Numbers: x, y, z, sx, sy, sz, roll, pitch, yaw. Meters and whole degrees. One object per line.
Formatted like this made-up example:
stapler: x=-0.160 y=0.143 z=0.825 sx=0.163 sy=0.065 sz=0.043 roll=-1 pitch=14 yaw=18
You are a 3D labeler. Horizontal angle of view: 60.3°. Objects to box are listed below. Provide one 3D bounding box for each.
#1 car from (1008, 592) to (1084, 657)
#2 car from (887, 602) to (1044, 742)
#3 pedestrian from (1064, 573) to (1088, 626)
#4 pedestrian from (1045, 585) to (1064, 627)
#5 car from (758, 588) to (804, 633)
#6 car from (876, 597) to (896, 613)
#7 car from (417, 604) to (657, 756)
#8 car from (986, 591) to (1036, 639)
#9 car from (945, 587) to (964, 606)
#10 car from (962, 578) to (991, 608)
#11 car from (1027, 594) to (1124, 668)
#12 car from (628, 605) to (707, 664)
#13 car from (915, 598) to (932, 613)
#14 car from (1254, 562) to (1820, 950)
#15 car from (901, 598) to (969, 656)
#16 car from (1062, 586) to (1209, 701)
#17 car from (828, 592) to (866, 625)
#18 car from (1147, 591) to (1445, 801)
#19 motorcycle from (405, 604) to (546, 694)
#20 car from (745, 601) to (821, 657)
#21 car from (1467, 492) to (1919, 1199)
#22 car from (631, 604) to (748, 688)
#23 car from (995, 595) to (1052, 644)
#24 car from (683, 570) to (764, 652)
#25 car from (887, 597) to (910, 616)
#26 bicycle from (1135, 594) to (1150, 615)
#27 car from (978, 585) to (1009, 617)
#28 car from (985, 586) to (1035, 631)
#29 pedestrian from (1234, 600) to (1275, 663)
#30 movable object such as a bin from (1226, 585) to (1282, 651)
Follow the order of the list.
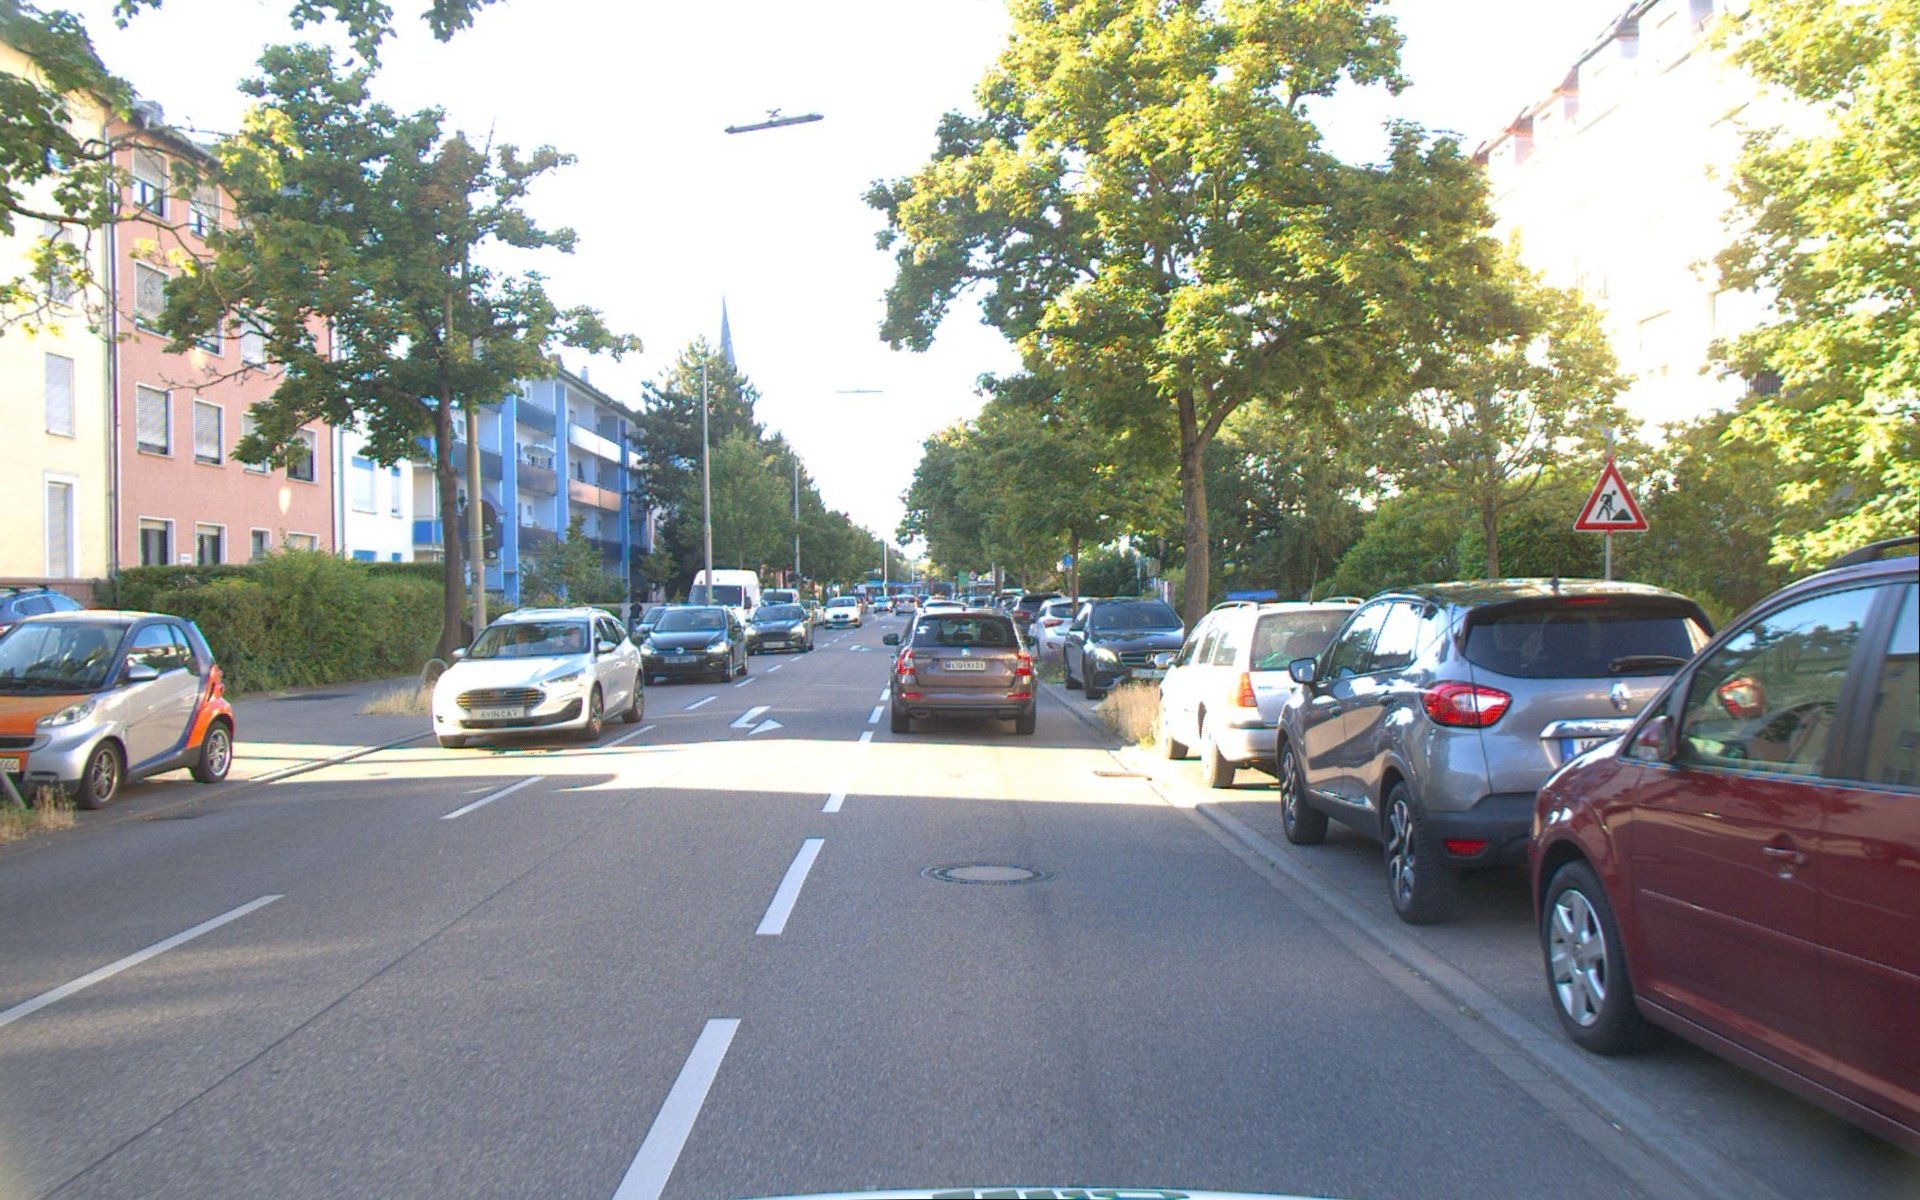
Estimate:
car: x=2.271 y=0.631 z=44.581 sx=1.683 sy=1.629 sz=4.095 roll=-1 pitch=0 yaw=-2
car: x=0.076 y=0.792 z=20.241 sx=1.718 sy=1.518 sz=4.000 roll=1 pitch=0 yaw=0
pedestrian: x=3.797 y=-0.020 z=54.284 sx=0.771 sy=1.730 sz=0.808 roll=0 pitch=-1 yaw=3
pedestrian: x=4.291 y=0.274 z=74.966 sx=0.734 sy=1.893 sz=1.067 roll=-2 pitch=0 yaw=-2
car: x=-8.650 y=0.485 z=80.345 sx=1.831 sy=2.067 sz=5.299 roll=0 pitch=0 yaw=-2
car: x=-7.112 y=0.463 z=159.389 sx=1.745 sy=1.520 sz=3.970 roll=-2 pitch=0 yaw=-1
car: x=-4.975 y=0.869 z=20.100 sx=1.795 sy=1.496 sz=4.450 roll=-4 pitch=0 yaw=-2
car: x=1.871 y=0.535 z=61.677 sx=1.718 sy=1.691 sz=4.252 roll=-2 pitch=0 yaw=0
car: x=-0.547 y=-0.341 z=158.055 sx=1.718 sy=1.837 sz=3.999 roll=0 pitch=0 yaw=-1
car: x=1.103 y=-0.455 z=110.209 sx=1.877 sy=1.893 sz=5.633 roll=-1 pitch=0 yaw=1
car: x=2.508 y=0.650 z=36.926 sx=1.684 sy=1.520 sz=4.392 roll=-1 pitch=0 yaw=-2
car: x=-8.062 y=0.928 z=45.899 sx=1.579 sy=1.498 sz=3.812 roll=1 pitch=0 yaw=-2
car: x=-4.132 y=0.614 z=185.712 sx=1.613 sy=1.627 sz=3.645 roll=-1 pitch=0 yaw=-6
car: x=2.829 y=0.661 z=9.079 sx=1.603 sy=1.596 sz=3.999 roll=-2 pitch=0 yaw=-1
car: x=-0.747 y=0.783 z=48.145 sx=1.854 sy=1.533 sz=3.788 roll=3 pitch=-1 yaw=-2
car: x=2.728 y=0.630 z=26.692 sx=1.836 sy=1.608 sz=4.820 roll=-2 pitch=0 yaw=0
car: x=-5.720 y=0.408 z=83.712 sx=1.842 sy=1.570 sz=4.263 roll=-1 pitch=0 yaw=-4
car: x=2.793 y=0.721 z=14.708 sx=1.603 sy=1.516 sz=4.414 roll=-2 pitch=0 yaw=-2
motorcycle: x=-7.898 y=0.793 z=27.003 sx=2.003 sy=1.413 sz=0.979 roll=2 pitch=-1 yaw=-33
car: x=-5.203 y=0.820 z=49.053 sx=1.665 sy=1.496 sz=4.295 roll=-2 pitch=0 yaw=1
car: x=2.997 y=0.587 z=4.272 sx=1.688 sy=1.684 sz=4.594 roll=-1 pitch=0 yaw=-4
car: x=-5.198 y=0.847 z=32.222 sx=1.666 sy=1.428 sz=4.026 roll=-3 pitch=0 yaw=-2
car: x=2.077 y=0.625 z=54.745 sx=1.580 sy=1.491 sz=3.958 roll=-2 pitch=0 yaw=-2
car: x=-8.089 y=0.345 z=57.204 sx=1.953 sy=2.662 sz=7.103 roll=0 pitch=0 yaw=-2
car: x=-5.008 y=0.542 z=134.020 sx=1.746 sy=1.506 sz=3.967 roll=1 pitch=0 yaw=-4
bicycle: x=8.551 y=0.217 z=77.473 sx=0.465 sy=0.961 sz=1.680 roll=-2 pitch=0 yaw=-2
car: x=1.884 y=0.057 z=93.767 sx=1.718 sy=1.716 sz=4.252 roll=0 pitch=0 yaw=0
car: x=2.117 y=0.362 z=70.868 sx=1.764 sy=1.840 sz=4.421 roll=1 pitch=0 yaw=-3
pedestrian: x=5.972 y=0.636 z=33.572 sx=0.659 sy=1.256 sz=0.790 roll=0 pitch=-1 yaw=-1
movable object such as a bin: x=7.193 y=0.436 z=40.504 sx=1.240 sy=1.518 sz=1.140 roll=-3 pitch=0 yaw=9
